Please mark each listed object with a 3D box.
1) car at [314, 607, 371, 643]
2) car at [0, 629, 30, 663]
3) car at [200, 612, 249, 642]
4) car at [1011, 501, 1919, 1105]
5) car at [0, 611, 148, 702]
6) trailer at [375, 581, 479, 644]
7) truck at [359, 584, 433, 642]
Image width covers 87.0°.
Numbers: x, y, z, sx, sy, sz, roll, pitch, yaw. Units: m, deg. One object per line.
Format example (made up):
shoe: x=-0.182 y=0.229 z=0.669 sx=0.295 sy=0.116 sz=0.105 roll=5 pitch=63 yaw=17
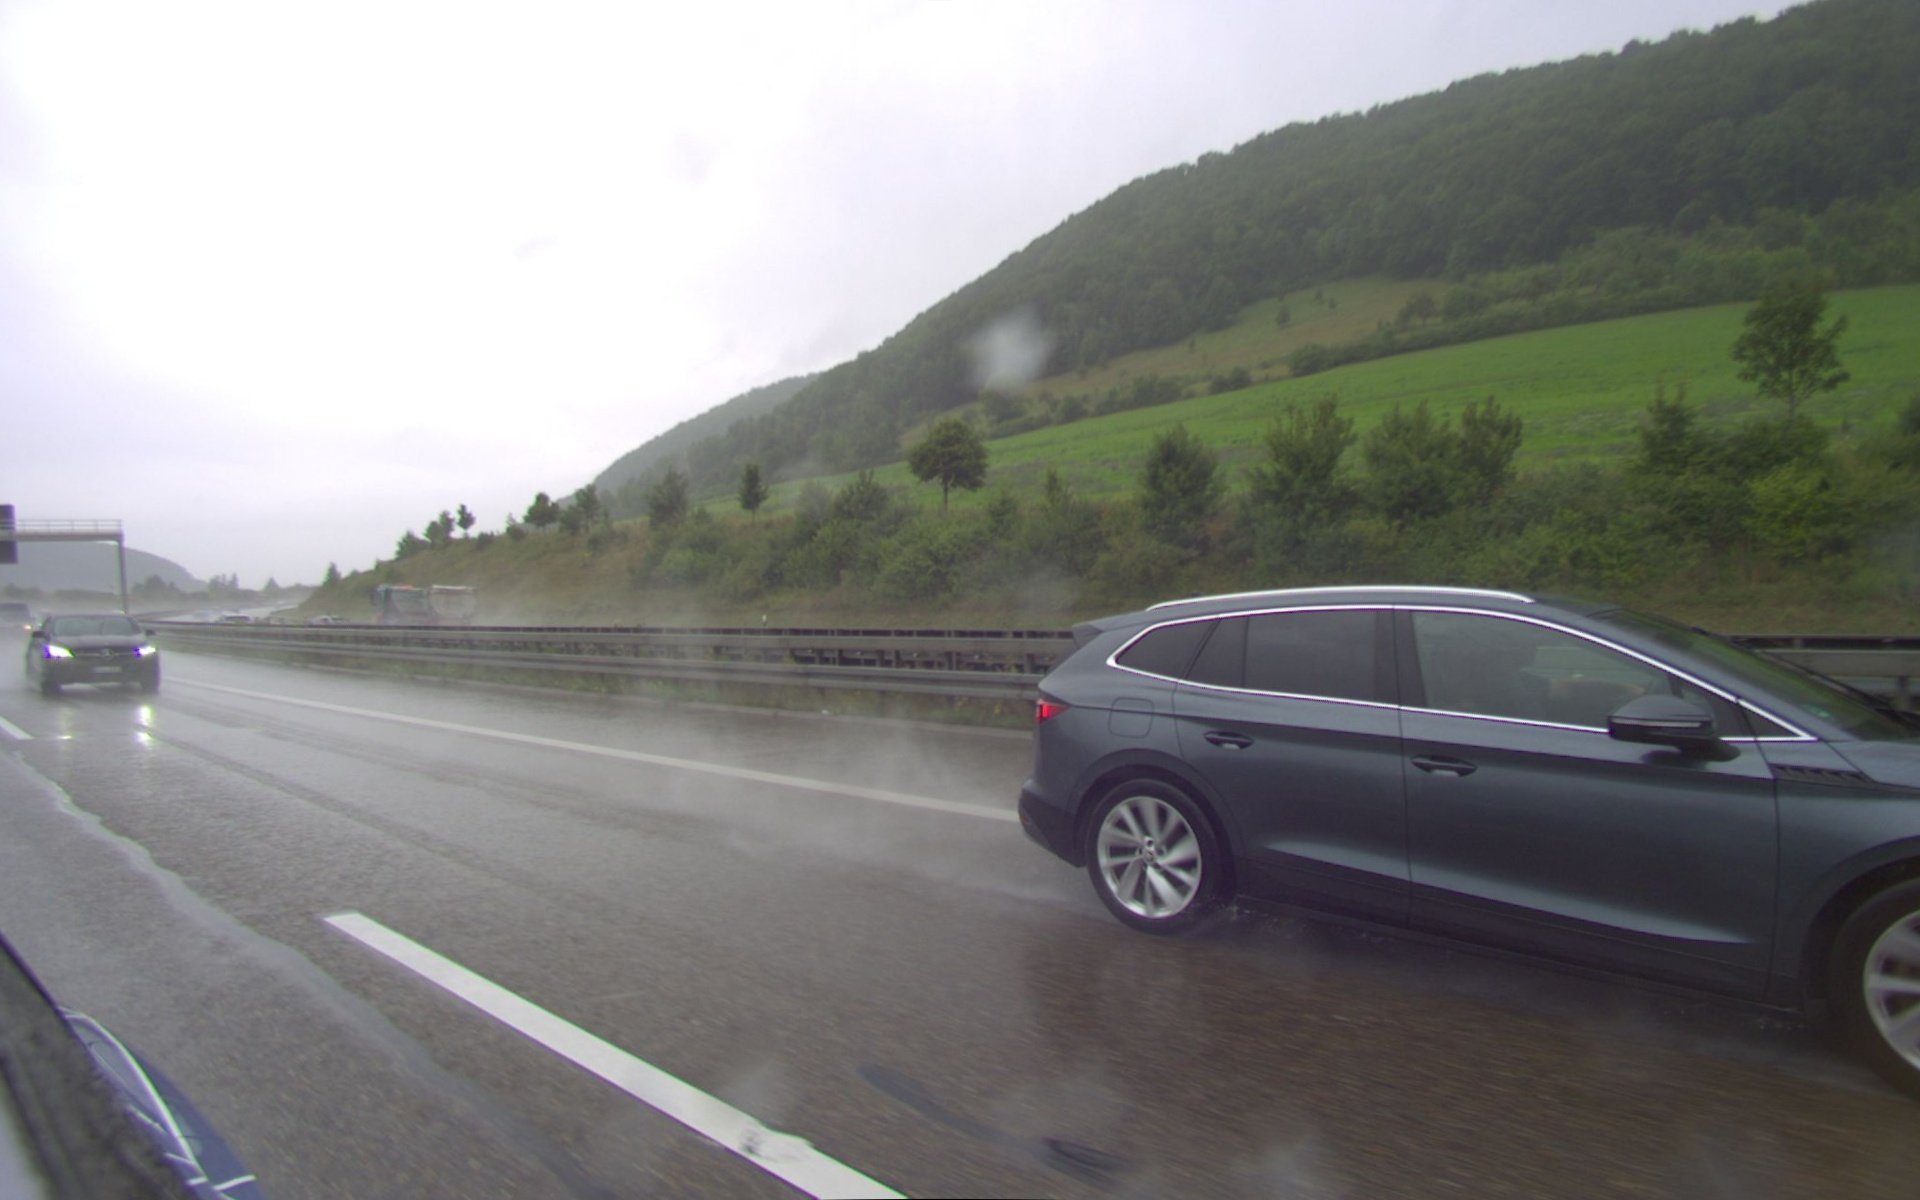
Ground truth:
car: x=-37.111 y=1.491 z=60.794 sx=3.999 sy=2.029 sz=1.893 roll=-1 pitch=-1 yaw=43
car: x=-58.720 y=2.814 z=62.160 sx=3.932 sy=2.029 sz=1.961 roll=-2 pitch=-1 yaw=42
car: x=-46.907 y=1.692 z=64.511 sx=4.001 sy=1.860 sz=1.839 roll=-1 pitch=-1 yaw=43
car: x=2.729 y=0.591 z=4.159 sx=4.908 sy=1.696 sz=1.972 roll=0 pitch=-1 yaw=42
car: x=-19.127 y=1.130 z=21.730 sx=3.744 sy=1.715 sz=1.793 roll=0 pitch=1 yaw=38
trailer: x=-32.287 y=0.775 z=61.089 sx=9.396 sy=3.517 sz=2.690 roll=-1 pitch=-1 yaw=44
truck: x=-36.175 y=0.824 z=64.805 sx=5.311 sy=3.569 sz=2.686 roll=-1 pitch=-1 yaw=43
